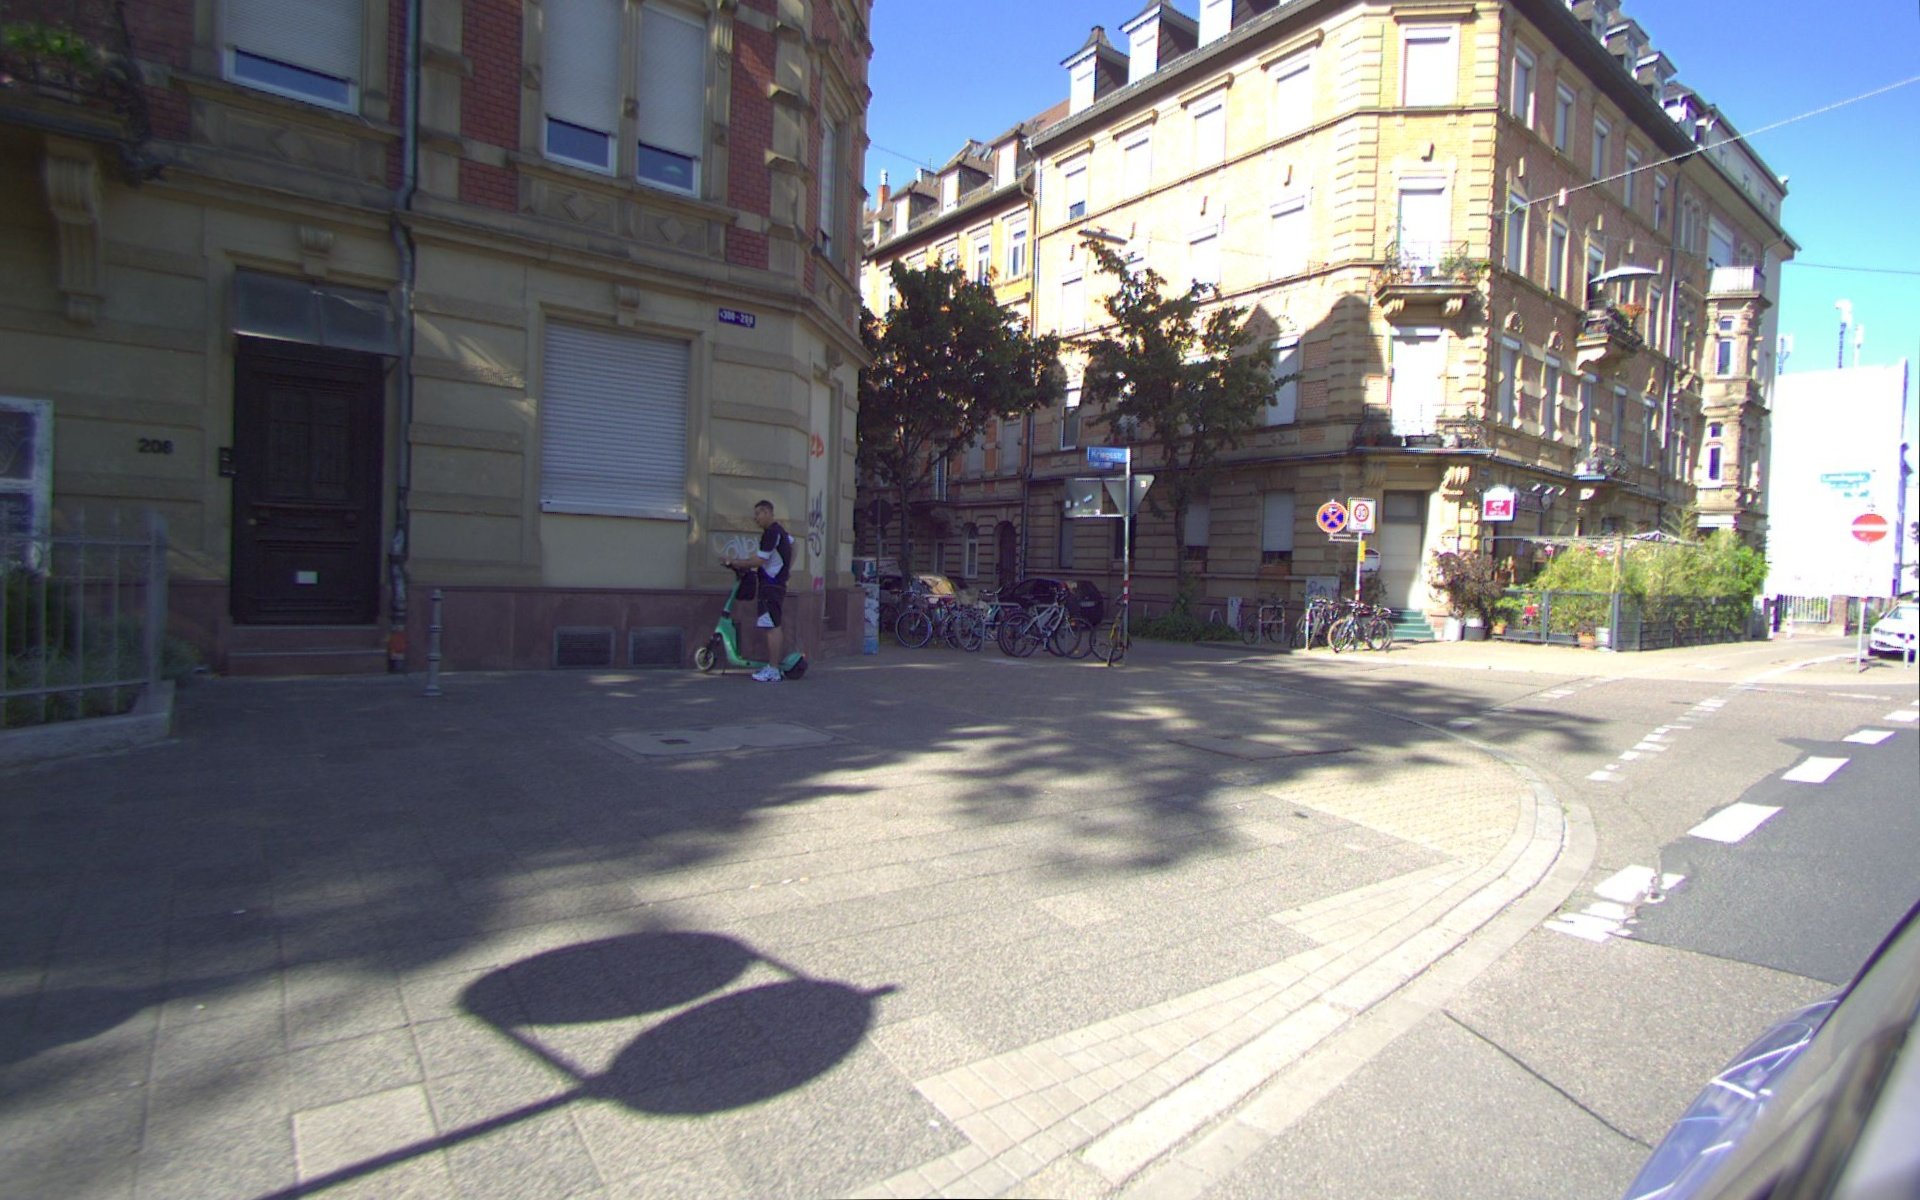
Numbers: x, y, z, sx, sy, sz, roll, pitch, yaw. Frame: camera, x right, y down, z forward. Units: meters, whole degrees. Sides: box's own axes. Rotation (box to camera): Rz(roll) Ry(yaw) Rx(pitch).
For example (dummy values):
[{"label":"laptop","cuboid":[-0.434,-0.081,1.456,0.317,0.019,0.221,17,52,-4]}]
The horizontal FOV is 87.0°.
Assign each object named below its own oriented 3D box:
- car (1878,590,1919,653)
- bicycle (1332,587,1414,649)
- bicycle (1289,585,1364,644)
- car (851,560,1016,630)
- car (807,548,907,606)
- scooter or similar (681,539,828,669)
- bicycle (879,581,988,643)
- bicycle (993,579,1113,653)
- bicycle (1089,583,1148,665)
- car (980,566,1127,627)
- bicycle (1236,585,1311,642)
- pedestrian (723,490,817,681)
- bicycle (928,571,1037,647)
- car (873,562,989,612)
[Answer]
[{"label":"car","cuboid":[24.832,0.580,25.556,4.033,1.457,1.847,1,5,-41]},{"label":"bicycle","cuboid":[8.465,0.333,20.689,1.984,1.148,0.735,-2,4,-41]},{"label":"bicycle","cuboid":[7.820,0.287,21.540,1.985,1.148,0.584,-1,4,-42]},{"label":"car","cuboid":[-0.770,-0.181,25.325,2.008,1.434,4.424,1,3,-35]},{"label":"car","cuboid":[-3.890,-0.885,37.630,2.008,1.944,3.940,1,3,-35]},{"label":"scooter or similar","cuboid":[-2.172,0.031,10.651,1.380,1.278,0.763,1,3,-20]},{"label":"bicycle","cuboid":[-0.466,0.214,18.638,1.980,1.068,0.585,0,2,-35]},{"label":"bicycle","cuboid":[1.547,0.278,16.671,1.979,1.148,0.585,2,1,-32]},{"label":"bicycle","cuboid":[2.418,0.330,15.641,0.574,1.148,2.018,4,1,1]},{"label":"car","cuboid":[2.565,-0.126,28.596,2.008,1.434,3.940,1,3,-35]},{"label":"bicycle","cuboid":[6.937,0.270,22.342,1.984,1.148,0.584,-2,5,-41]},{"label":"pedestrian","cuboid":[-1.995,-0.156,10.710,0.753,1.916,0.693,3,0,4]},{"label":"bicycle","cuboid":[0.415,0.179,17.436,0.633,1.200,1.987,4,1,44]},{"label":"car","cuboid":[-1.017,-0.458,33.677,2.008,1.434,3.940,1,3,-35]}]
